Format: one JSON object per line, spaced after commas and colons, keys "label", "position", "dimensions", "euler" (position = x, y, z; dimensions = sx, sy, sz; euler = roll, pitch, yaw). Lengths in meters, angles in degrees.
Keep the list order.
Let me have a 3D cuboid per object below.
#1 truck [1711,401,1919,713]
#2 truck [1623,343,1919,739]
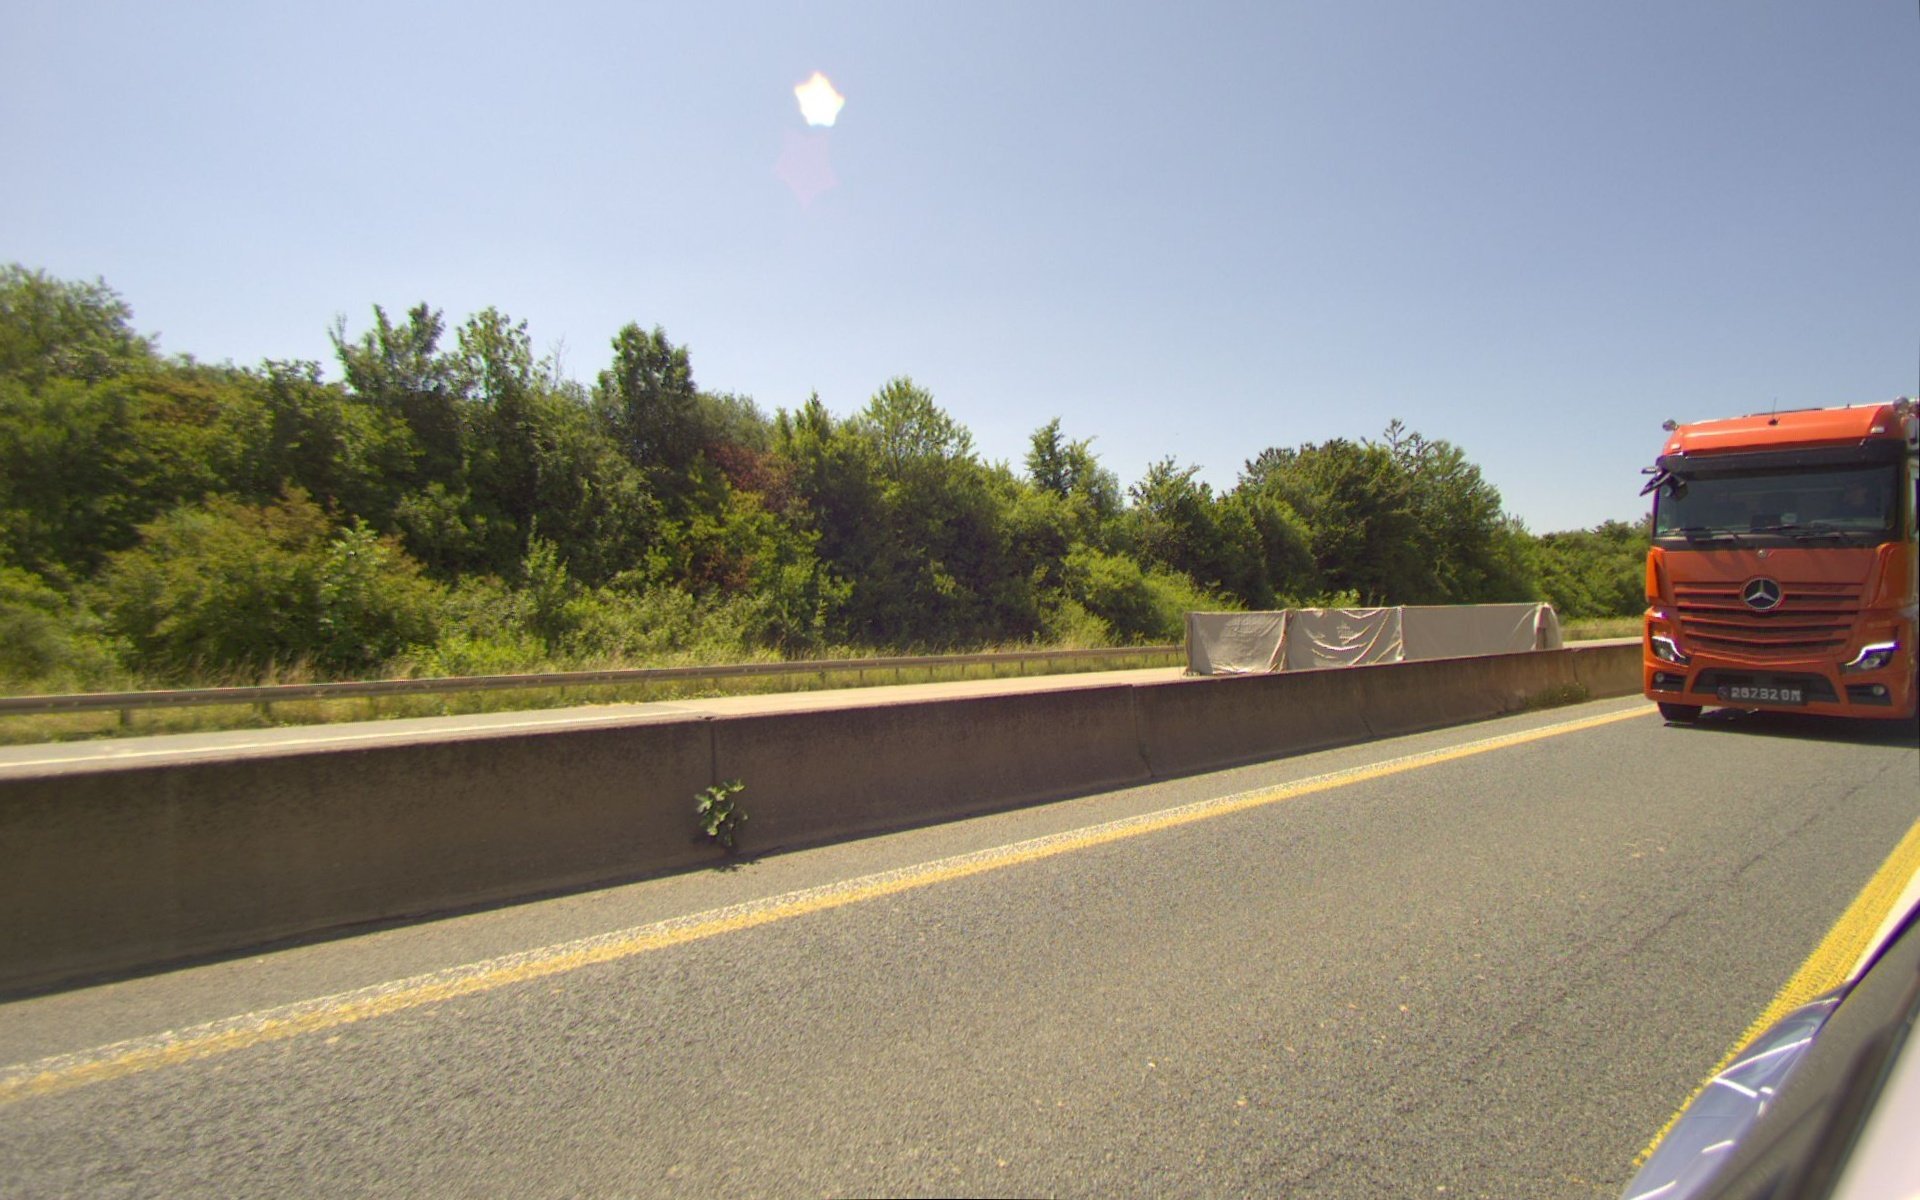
{"label": "truck", "position": [16.787, -0.546, 18.123], "dimensions": [12.989, 4.061, 2.686], "euler": [0, -1, -41]}
{"label": "truck", "position": [11.534, -0.625, 13.526], "dimensions": [6.607, 4.061, 2.687], "euler": [-1, 0, -40]}
